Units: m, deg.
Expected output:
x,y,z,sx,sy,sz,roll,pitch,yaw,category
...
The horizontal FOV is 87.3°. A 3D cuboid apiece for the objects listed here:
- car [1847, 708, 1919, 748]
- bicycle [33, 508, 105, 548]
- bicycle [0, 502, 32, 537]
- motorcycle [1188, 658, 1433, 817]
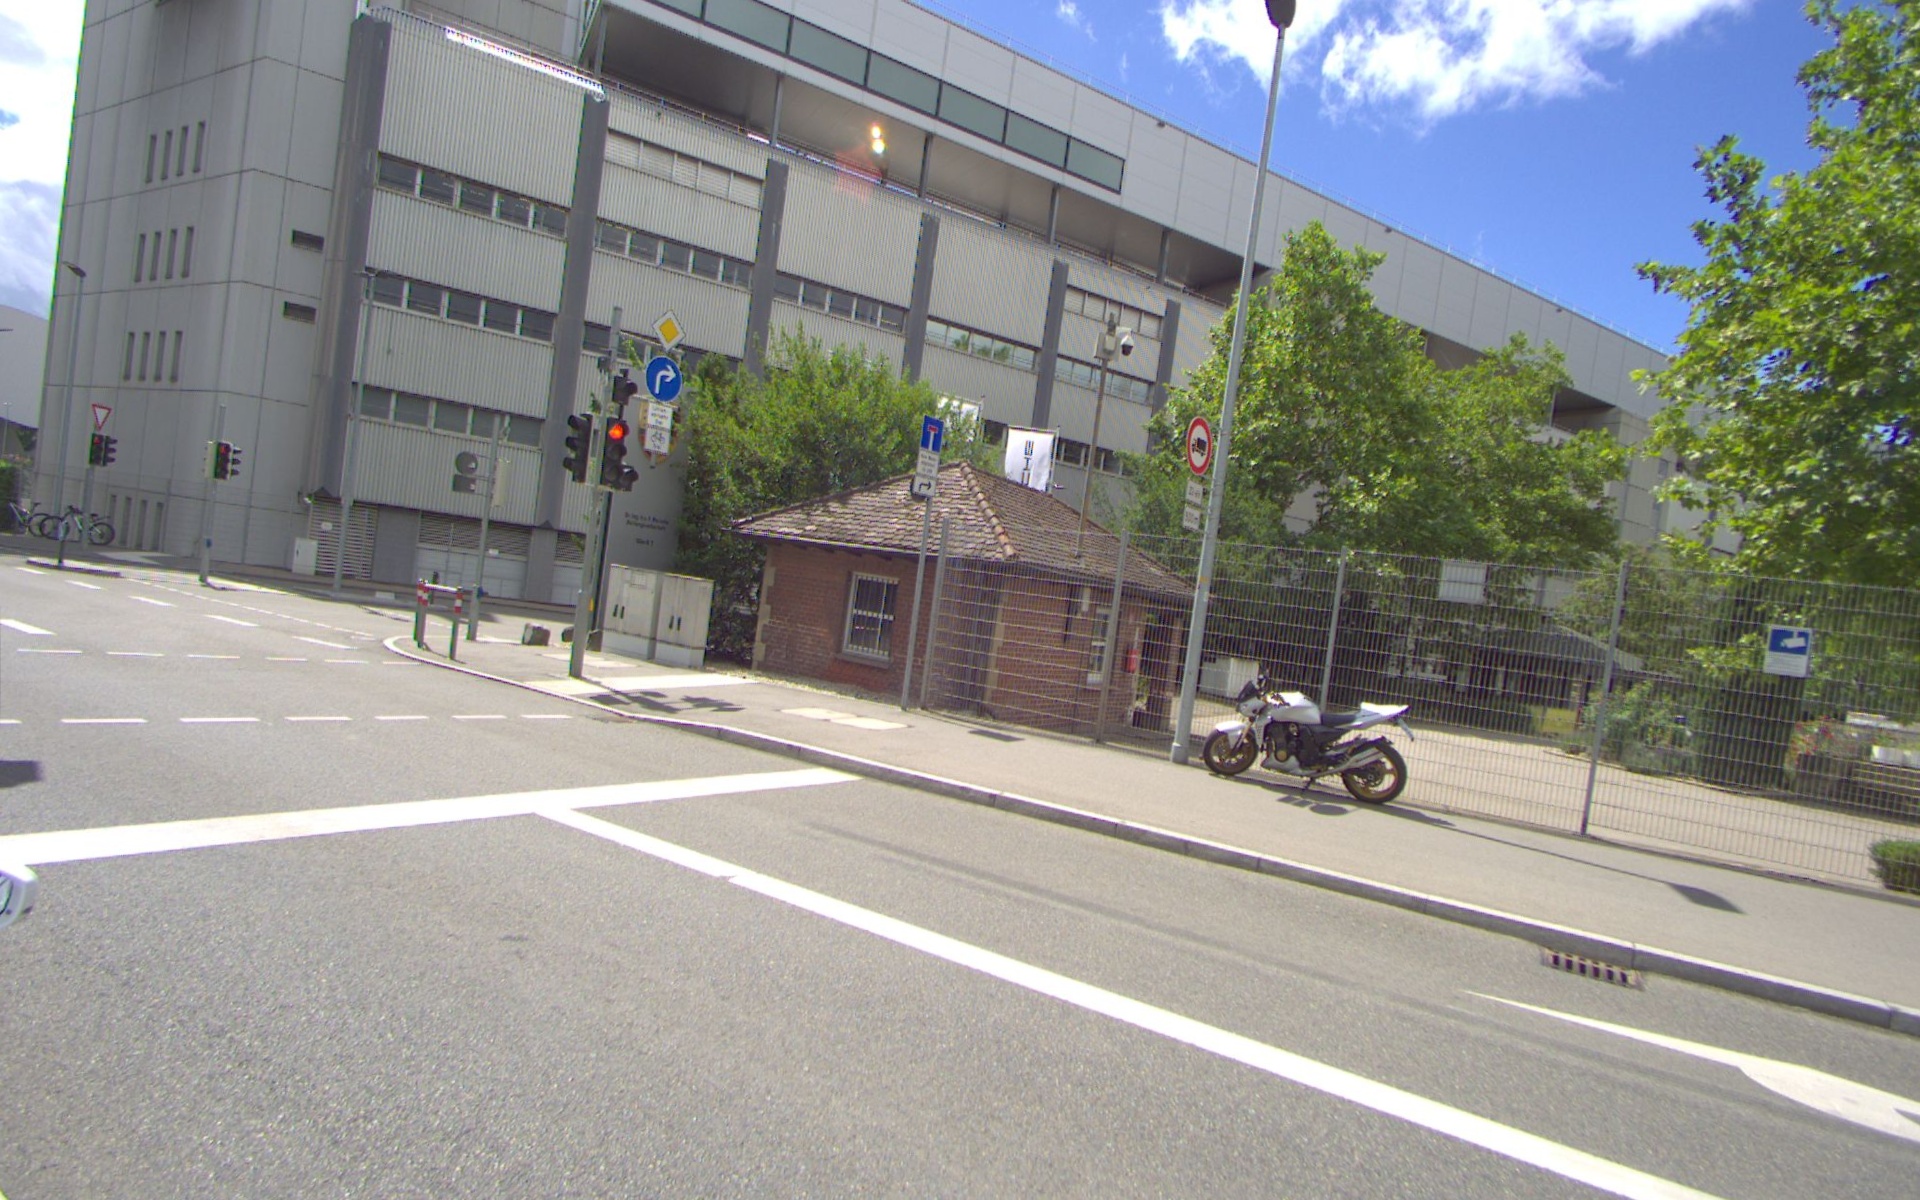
x,y,z,sx,sy,sz,roll,pitch,yaw,category
53.055,7.314,56.773,1.979,1.803,3.971,8,-2,-30,car
-27.250,-2.202,30.756,1.892,0.948,0.399,7,0,6,bicycle
-29.675,-2.537,31.072,1.891,0.948,0.399,7,0,13,bicycle
3.453,1.307,9.981,2.110,1.173,0.693,7,2,27,motorcycle
